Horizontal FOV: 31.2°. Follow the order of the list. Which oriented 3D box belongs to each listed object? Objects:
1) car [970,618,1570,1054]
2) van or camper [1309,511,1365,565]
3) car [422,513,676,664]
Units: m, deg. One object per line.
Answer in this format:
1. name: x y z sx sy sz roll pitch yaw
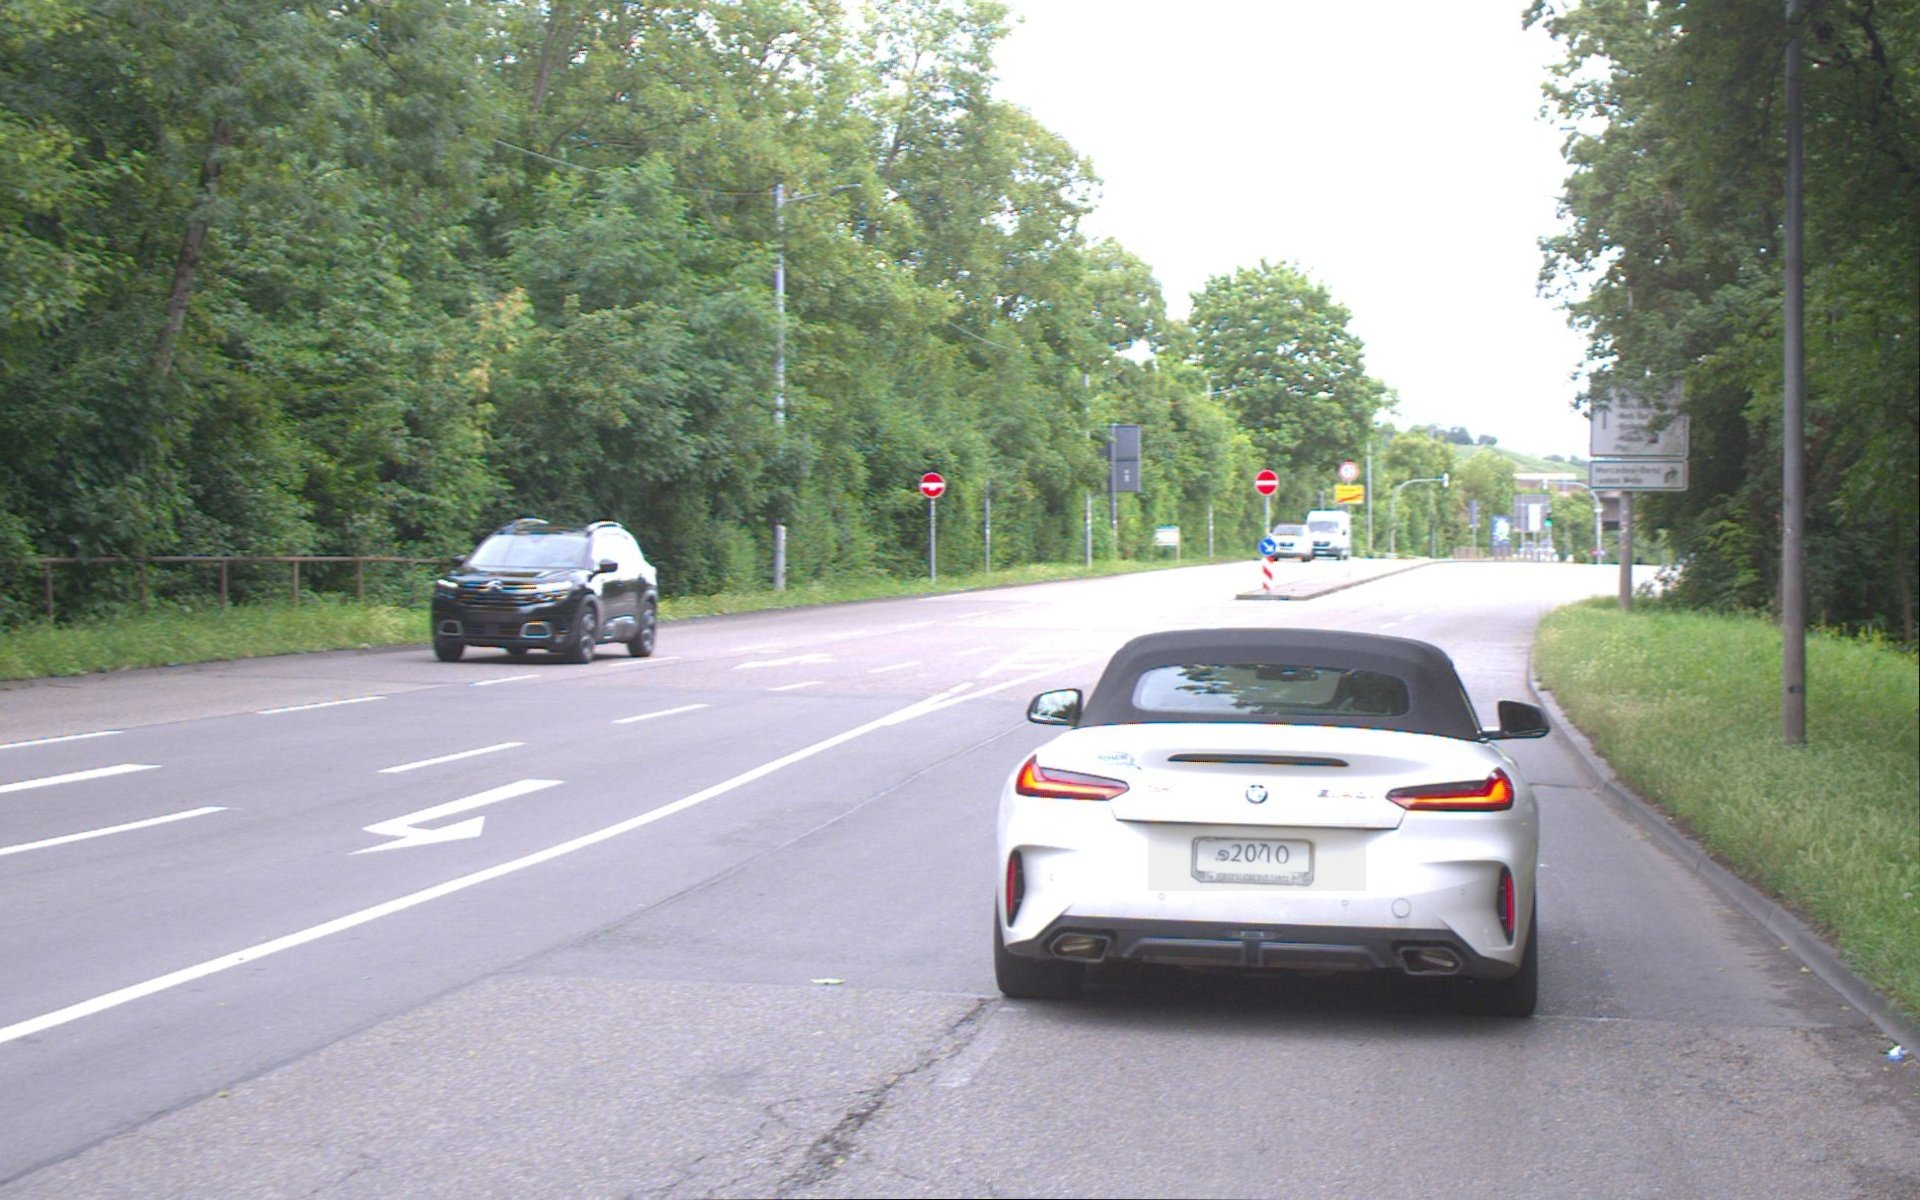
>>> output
1. car: 1.211 0.754 12.845 1.875 1.305 3.872 1 0 7
2. van or camper: 19.806 -3.227 180.254 2.284 2.546 6.856 3 1 10
3. car: -4.876 -0.134 41.351 1.823 1.647 4.219 2 0 10
